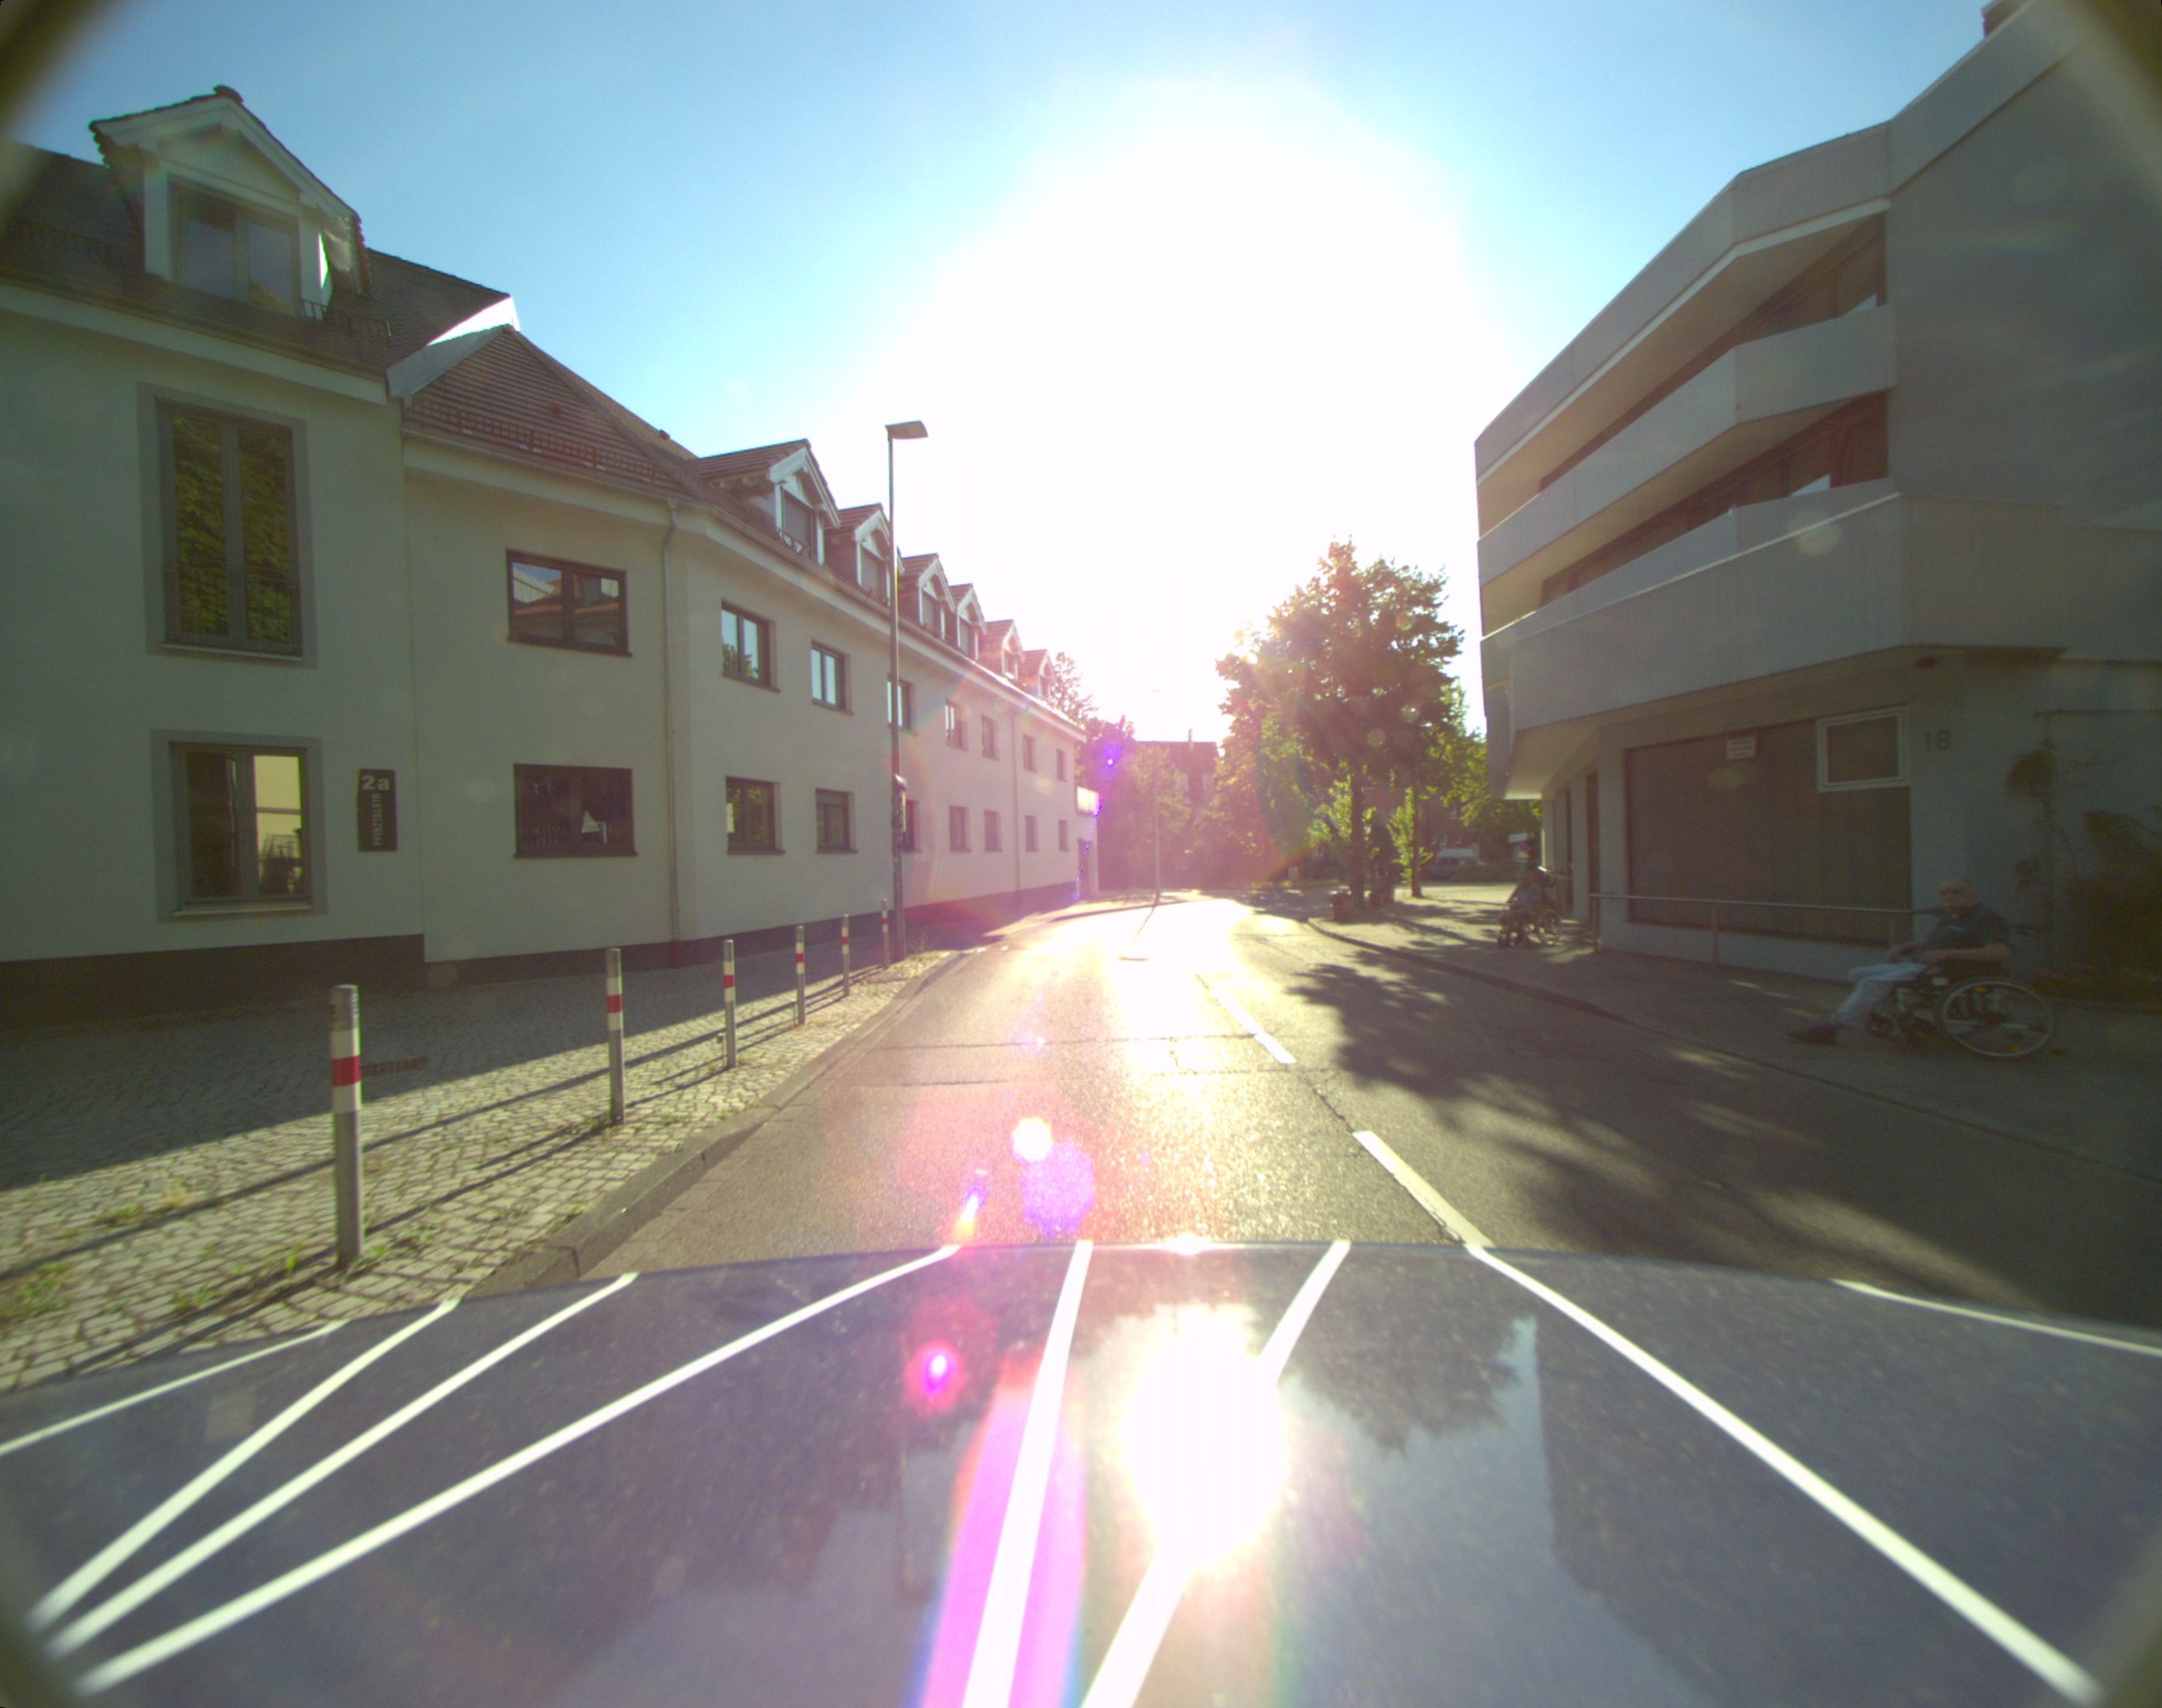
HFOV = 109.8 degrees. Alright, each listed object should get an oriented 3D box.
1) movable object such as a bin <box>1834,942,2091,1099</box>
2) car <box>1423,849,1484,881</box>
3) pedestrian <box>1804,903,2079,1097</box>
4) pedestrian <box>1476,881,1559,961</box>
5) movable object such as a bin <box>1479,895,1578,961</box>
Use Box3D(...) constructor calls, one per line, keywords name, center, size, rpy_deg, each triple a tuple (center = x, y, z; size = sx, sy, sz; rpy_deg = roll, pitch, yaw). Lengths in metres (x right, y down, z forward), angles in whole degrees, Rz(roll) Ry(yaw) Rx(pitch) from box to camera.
Box3D(name="movable object such as a bin", center=(6.451, 1.176, 5.654), size=(1.035, 0.923, 0.842), rpy_deg=(-4, 0, 35))
Box3D(name="car", center=(29.052, 0.831, 59.405), size=(2.001, 2.345, 4.203), rpy_deg=(-2, 1, -15))
Box3D(name="pedestrian", center=(6.355, 1.025, 5.719), size=(1.155, 1.222, 0.842), rpy_deg=(-4, 0, 35))
Box3D(name="pedestrian", center=(6.978, 1.050, 12.176), size=(0.743, 1.179, 0.840), rpy_deg=(-4, 0, -7))
Box3D(name="movable object such as a bin", center=(7.157, 1.170, 12.187), size=(1.038, 0.923, 0.840), rpy_deg=(-4, 0, -7))
